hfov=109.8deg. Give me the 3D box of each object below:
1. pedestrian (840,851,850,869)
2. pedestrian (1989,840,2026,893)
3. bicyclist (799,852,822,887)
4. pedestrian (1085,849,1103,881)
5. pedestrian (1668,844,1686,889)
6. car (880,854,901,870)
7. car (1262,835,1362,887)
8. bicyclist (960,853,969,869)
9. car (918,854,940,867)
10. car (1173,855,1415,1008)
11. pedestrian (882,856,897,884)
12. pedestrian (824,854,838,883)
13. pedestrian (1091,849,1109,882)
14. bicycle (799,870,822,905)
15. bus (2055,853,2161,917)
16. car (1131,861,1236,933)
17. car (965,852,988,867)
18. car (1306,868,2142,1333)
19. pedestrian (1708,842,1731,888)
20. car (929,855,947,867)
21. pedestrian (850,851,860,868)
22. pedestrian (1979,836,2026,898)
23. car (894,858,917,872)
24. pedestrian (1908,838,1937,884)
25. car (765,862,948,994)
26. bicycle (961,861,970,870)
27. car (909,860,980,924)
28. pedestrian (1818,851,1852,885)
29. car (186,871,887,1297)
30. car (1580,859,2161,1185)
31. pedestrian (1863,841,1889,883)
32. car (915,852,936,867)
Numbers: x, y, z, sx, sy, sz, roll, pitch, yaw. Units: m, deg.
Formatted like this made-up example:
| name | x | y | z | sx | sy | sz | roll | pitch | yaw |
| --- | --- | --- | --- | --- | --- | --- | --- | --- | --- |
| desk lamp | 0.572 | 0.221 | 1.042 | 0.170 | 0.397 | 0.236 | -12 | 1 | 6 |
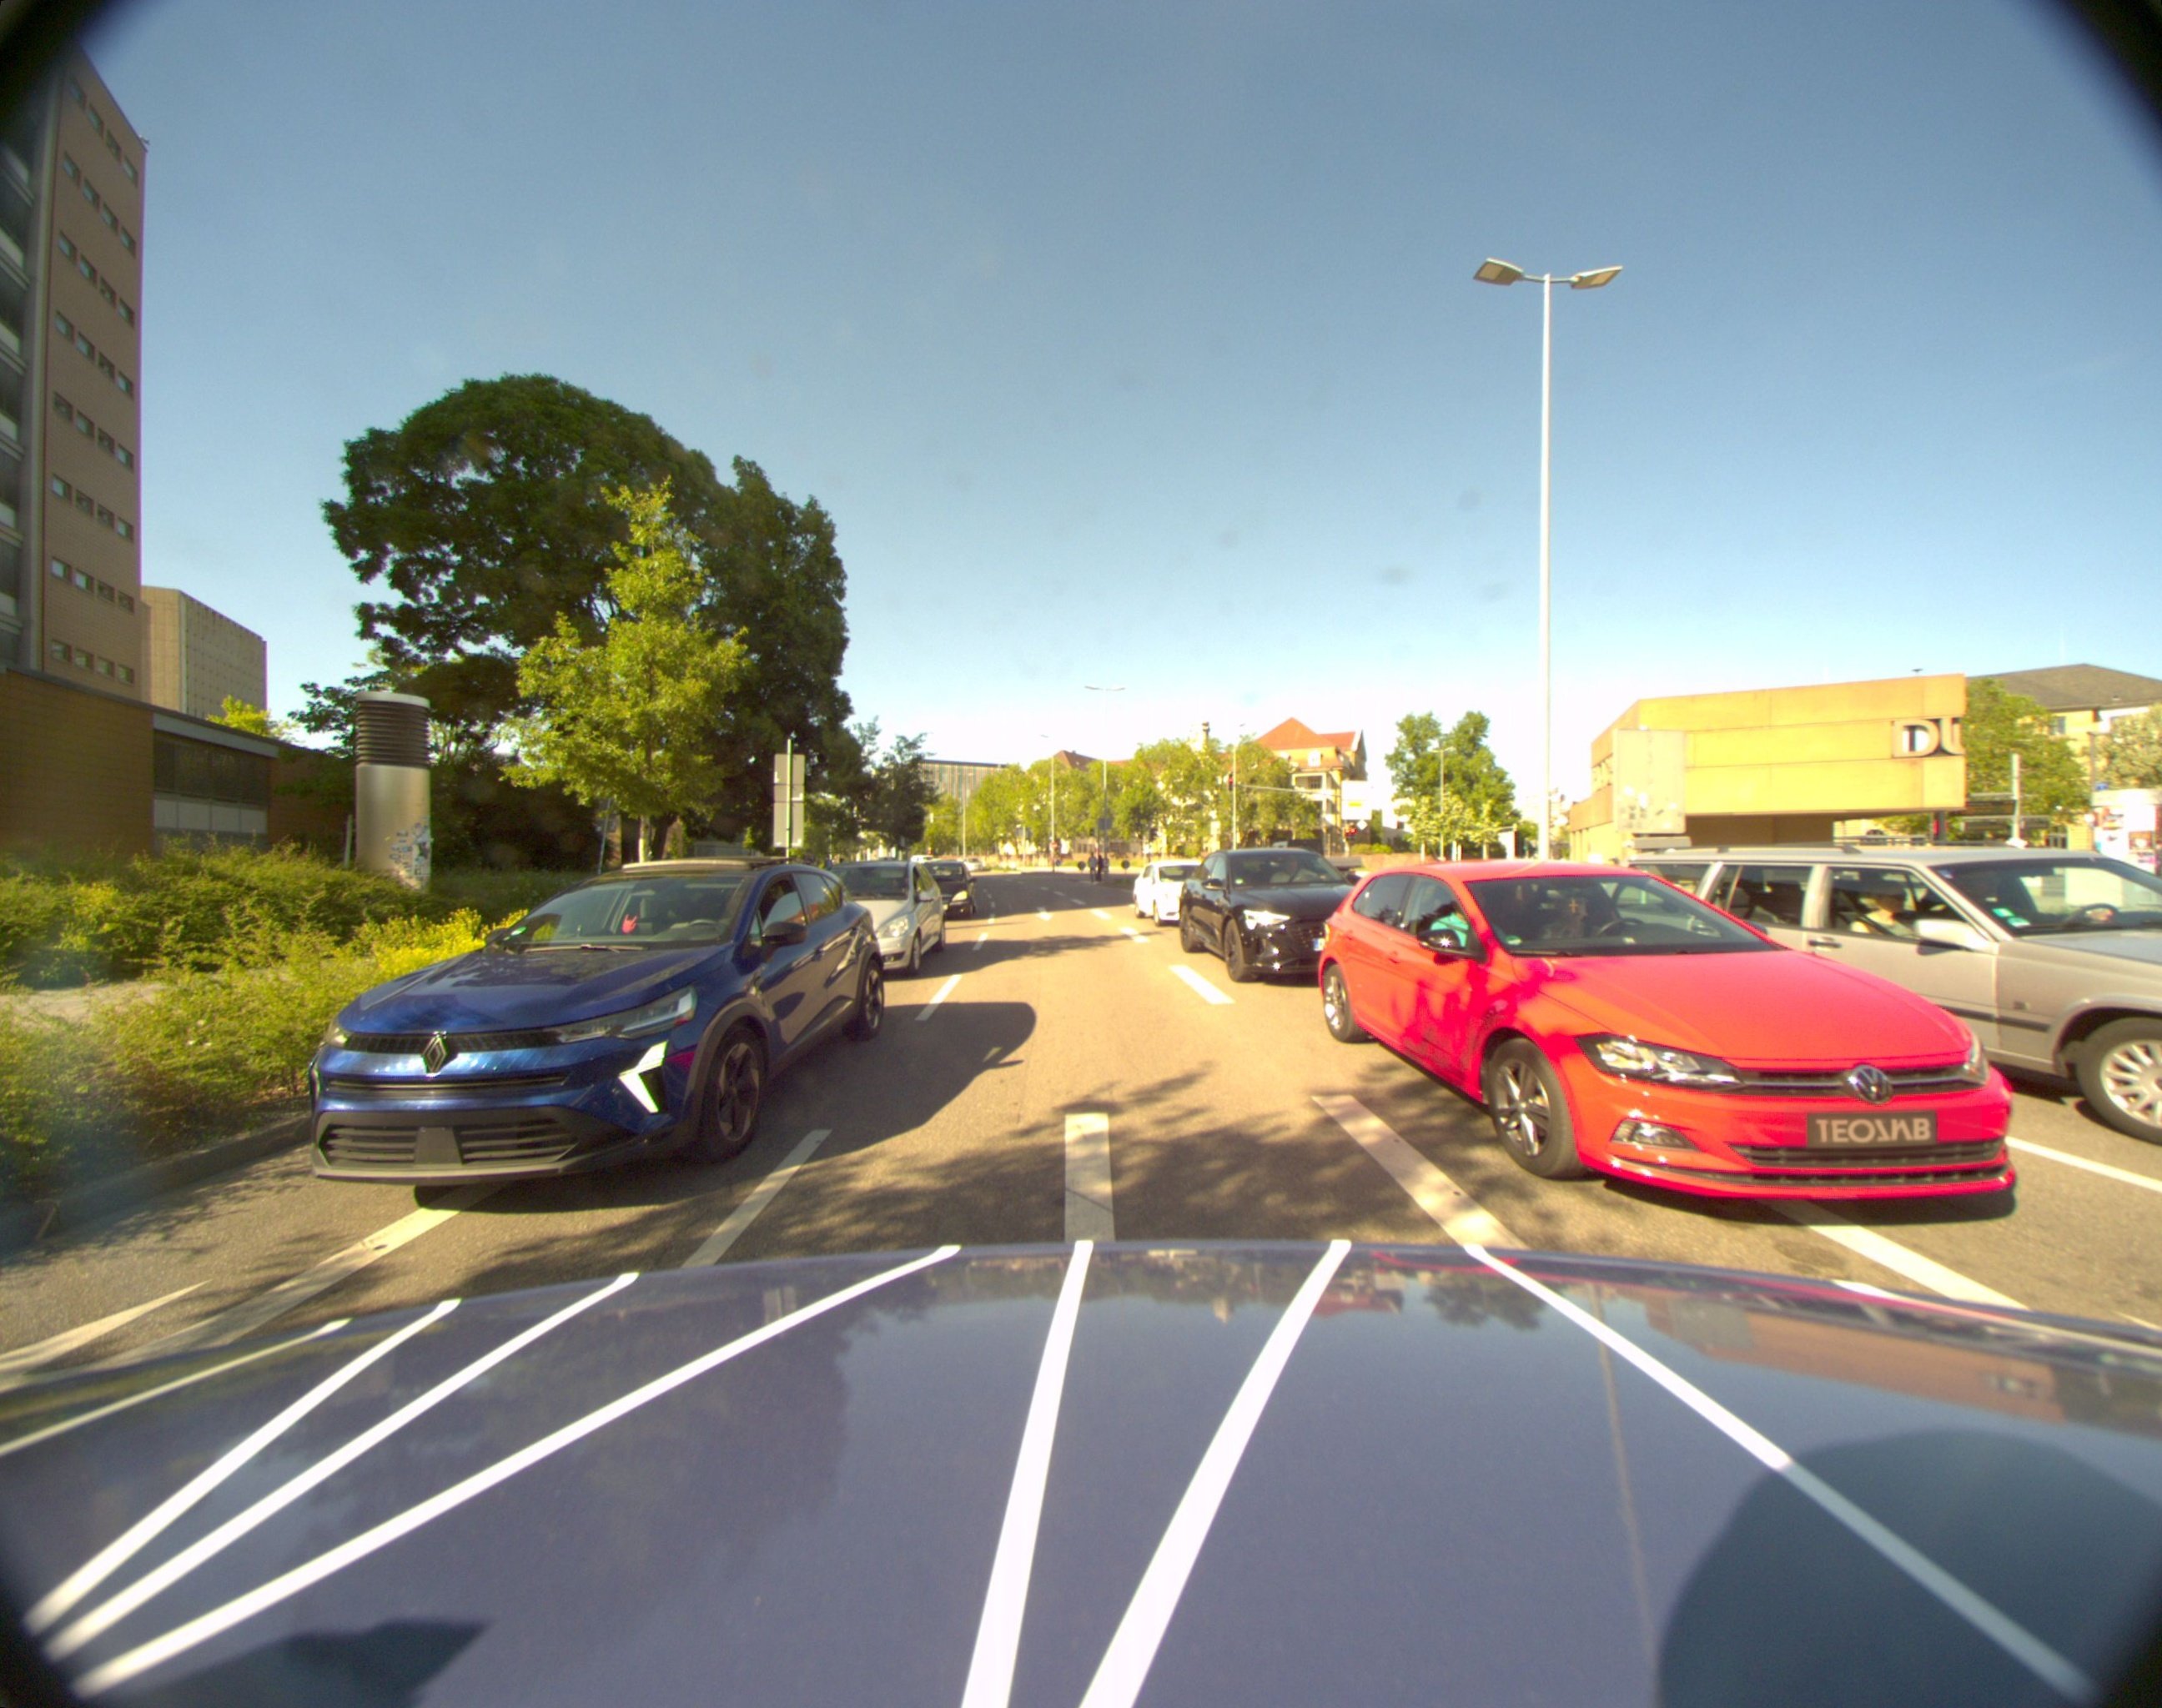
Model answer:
| name | x | y | z | sx | sy | sz | roll | pitch | yaw |
| --- | --- | --- | --- | --- | --- | --- | --- | --- | --- |
| pedestrian | -26.018 | 0.665 | 83.678 | 0.823 | 1.906 | 0.770 | -2 | 1 | -29 |
| pedestrian | 31.229 | 0.422 | 25.605 | 0.644 | 1.766 | 0.469 | 0 | 1 | 21 |
| bicyclist | -10.141 | 0.578 | 28.494 | 0.723 | 1.271 | 0.906 | 2 | 0 | -17 |
| pedestrian | 0.749 | 0.627 | 44.494 | 0.887 | 1.814 | 0.776 | -2 | 1 | -7 |
| pedestrian | 23.970 | 0.503 | 30.541 | 0.467 | 1.766 | 0.647 | 0 | 1 | 29 |
| car | -21.774 | 0.896 | 86.903 | 1.830 | 1.842 | 3.745 | 0 | 0 | -21 |
| car | 11.096 | 0.317 | 37.110 | 2.117 | 2.300 | 6.209 | -1 | 0 | -10 |
| bicyclist | -12.111 | 0.738 | 79.254 | 0.696 | 1.549 | 0.814 | -2 | 1 | -23 |
| car | -16.896 | 0.720 | 84.377 | 1.754 | 1.370 | 3.568 | -1 | 0 | -21 |
| car | 2.565 | 0.830 | 10.360 | 1.859 | 1.606 | 4.452 | 0 | 0 | -3 |
| pedestrian | -11.148 | 0.919 | 44.194 | 0.694 | 1.594 | 0.660 | -1 | 0 | -28 |
| pedestrian | -13.873 | 0.774 | 42.200 | 0.693 | 1.594 | 0.660 | 0 | 0 | -17 |
| pedestrian | 1.067 | 0.640 | 43.265 | 0.757 | 1.814 | 0.775 | -2 | 1 | -17 |
| bicycle | -10.148 | 1.254 | 28.531 | 0.693 | 1.211 | 1.832 | 2 | 0 | -17 |
| bus | 21.675 | 0.597 | 14.108 | 1.646 | 1.234 | 4.181 | 0 | 0 | -5 |
| car | 2.269 | 0.919 | 17.781 | 1.575 | 1.410 | 3.711 | -2 | 0 | -6 |
| car | -11.542 | 0.616 | 83.848 | 1.527 | 1.669 | 3.374 | -2 | 0 | -24 |
| car | 2.783 | 0.879 | 4.528 | 1.674 | 1.464 | 3.853 | -2 | 0 | -1 |
| pedestrian | 24.562 | 0.419 | 29.222 | 0.644 | 1.766 | 0.618 | 0 | 1 | 42 |
| car | -18.561 | 0.911 | 98.599 | 1.598 | 1.596 | 3.066 | -1 | 0 | -26 |
| pedestrian | -24.922 | 0.625 | 83.769 | 0.823 | 1.906 | 0.770 | -2 | 1 | -29 |
| pedestrian | 26.961 | 0.378 | 22.239 | 0.646 | 1.778 | 0.667 | -2 | 1 | -16 |
| car | -18.624 | 1.148 | 80.560 | 1.754 | 1.467 | 3.567 | -2 | 1 | -23 |
| pedestrian | 33.013 | 0.283 | 29.820 | 0.645 | 1.766 | 0.468 | -1 | 1 | -4 |
| car | -3.171 | 0.945 | 11.585 | 1.786 | 1.615 | 4.042 | 0 | 0 | -3 |
| bicycle | -12.062 | 1.167 | 79.266 | 0.591 | 0.884 | 1.652 | -2 | 0 | -23 |
| car | -3.731 | 0.985 | 21.241 | 1.651 | 1.601 | 3.488 | 0 | 0 | -6 |
| pedestrian | 30.152 | 0.555 | 30.401 | 0.645 | 1.303 | 0.763 | -1 | 0 | 9 |
| car | -2.693 | 0.966 | 5.078 | 1.705 | 1.596 | 4.084 | -1 | 0 | 0 |
| car | 5.783 | 0.792 | 4.952 | 1.713 | 1.464 | 4.750 | -1 | 0 | -4 |
| pedestrian | 33.333 | 0.331 | 31.857 | 0.645 | 1.766 | 0.468 | -1 | 1 | -4 |
| car | -21.556 | 0.783 | 105.435 | 1.790 | 2.002 | 4.223 | -2 | 1 | -26 |
